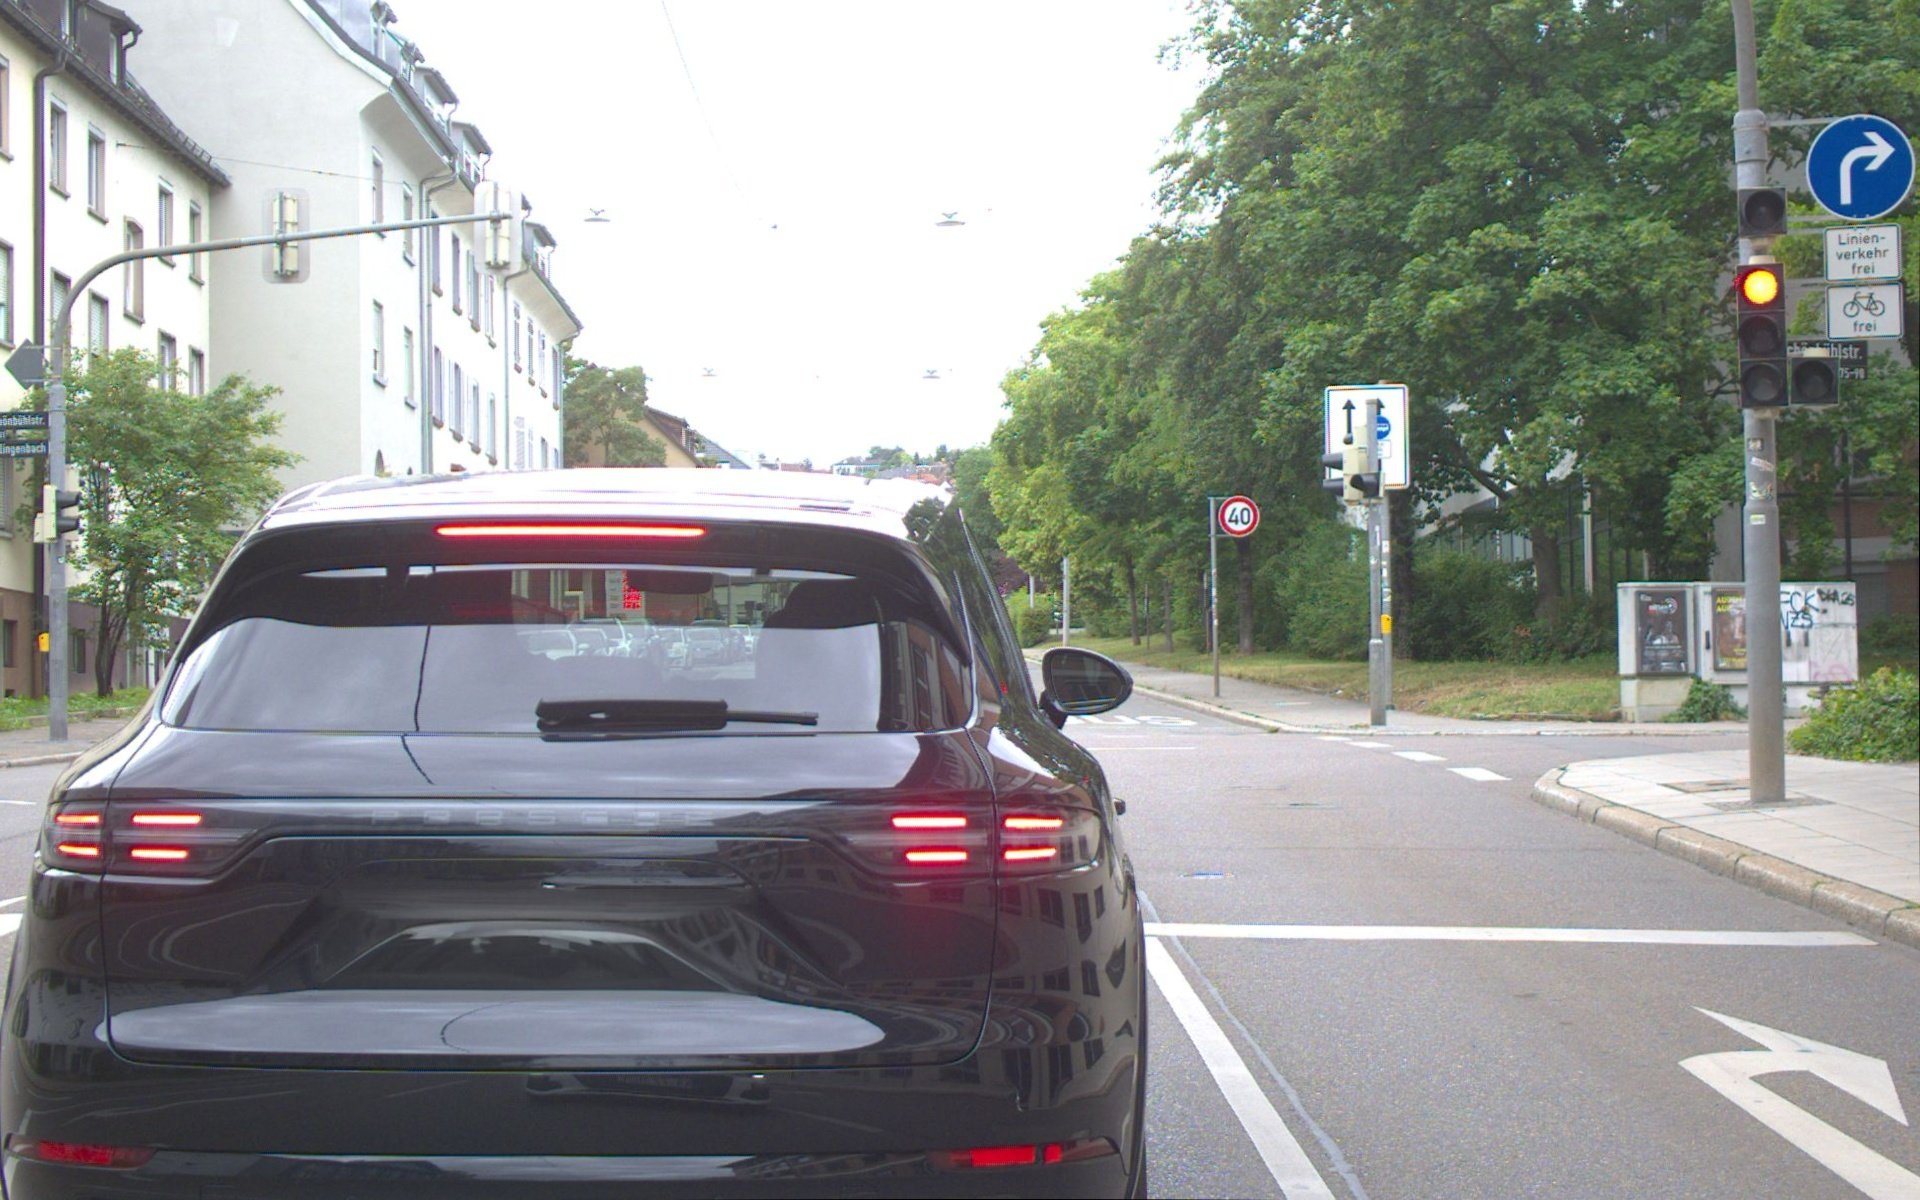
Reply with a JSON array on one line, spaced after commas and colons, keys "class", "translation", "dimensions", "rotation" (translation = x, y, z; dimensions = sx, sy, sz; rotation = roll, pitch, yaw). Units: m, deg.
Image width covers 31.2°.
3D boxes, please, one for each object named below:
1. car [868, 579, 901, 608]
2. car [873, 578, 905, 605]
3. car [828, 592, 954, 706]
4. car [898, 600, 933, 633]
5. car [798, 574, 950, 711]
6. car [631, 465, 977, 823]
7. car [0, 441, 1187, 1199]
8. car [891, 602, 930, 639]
[{"class": "car", "translation": [-4.433, -0.379, 202.953], "dimensions": [1.827, 1.599, 4.135], "rotation": [1, 1, 0]}, {"class": "car", "translation": [-4.332, -0.532, 210.279], "dimensions": [1.827, 1.599, 4.135], "rotation": [1, 1, 0]}, {"class": "car", "translation": [-1.031, 0.721, 52.547], "dimensions": [1.827, 1.599, 3.859], "rotation": [1, 1, 0]}, {"class": "car", "translation": [-2.342, 0.860, 182.493], "dimensions": [1.827, 1.599, 4.135], "rotation": [1, 1, 0]}, {"class": "car", "translation": [-1.058, 0.497, 43.829], "dimensions": [1.827, 1.599, 4.135], "rotation": [1, 1, 0]}, {"class": "car", "translation": [-0.915, 0.220, 21.905], "dimensions": [1.965, 2.035, 4.135], "rotation": [1, 1, 0]}, {"class": "car", "translation": [-0.711, 0.568, 7.257], "dimensions": [2.048, 1.660, 4.267], "rotation": [1, 1, 0]}, {"class": "car", "translation": [-2.338, 0.969, 163.317], "dimensions": [1.827, 1.599, 4.135], "rotation": [1, 1, 0]}]
